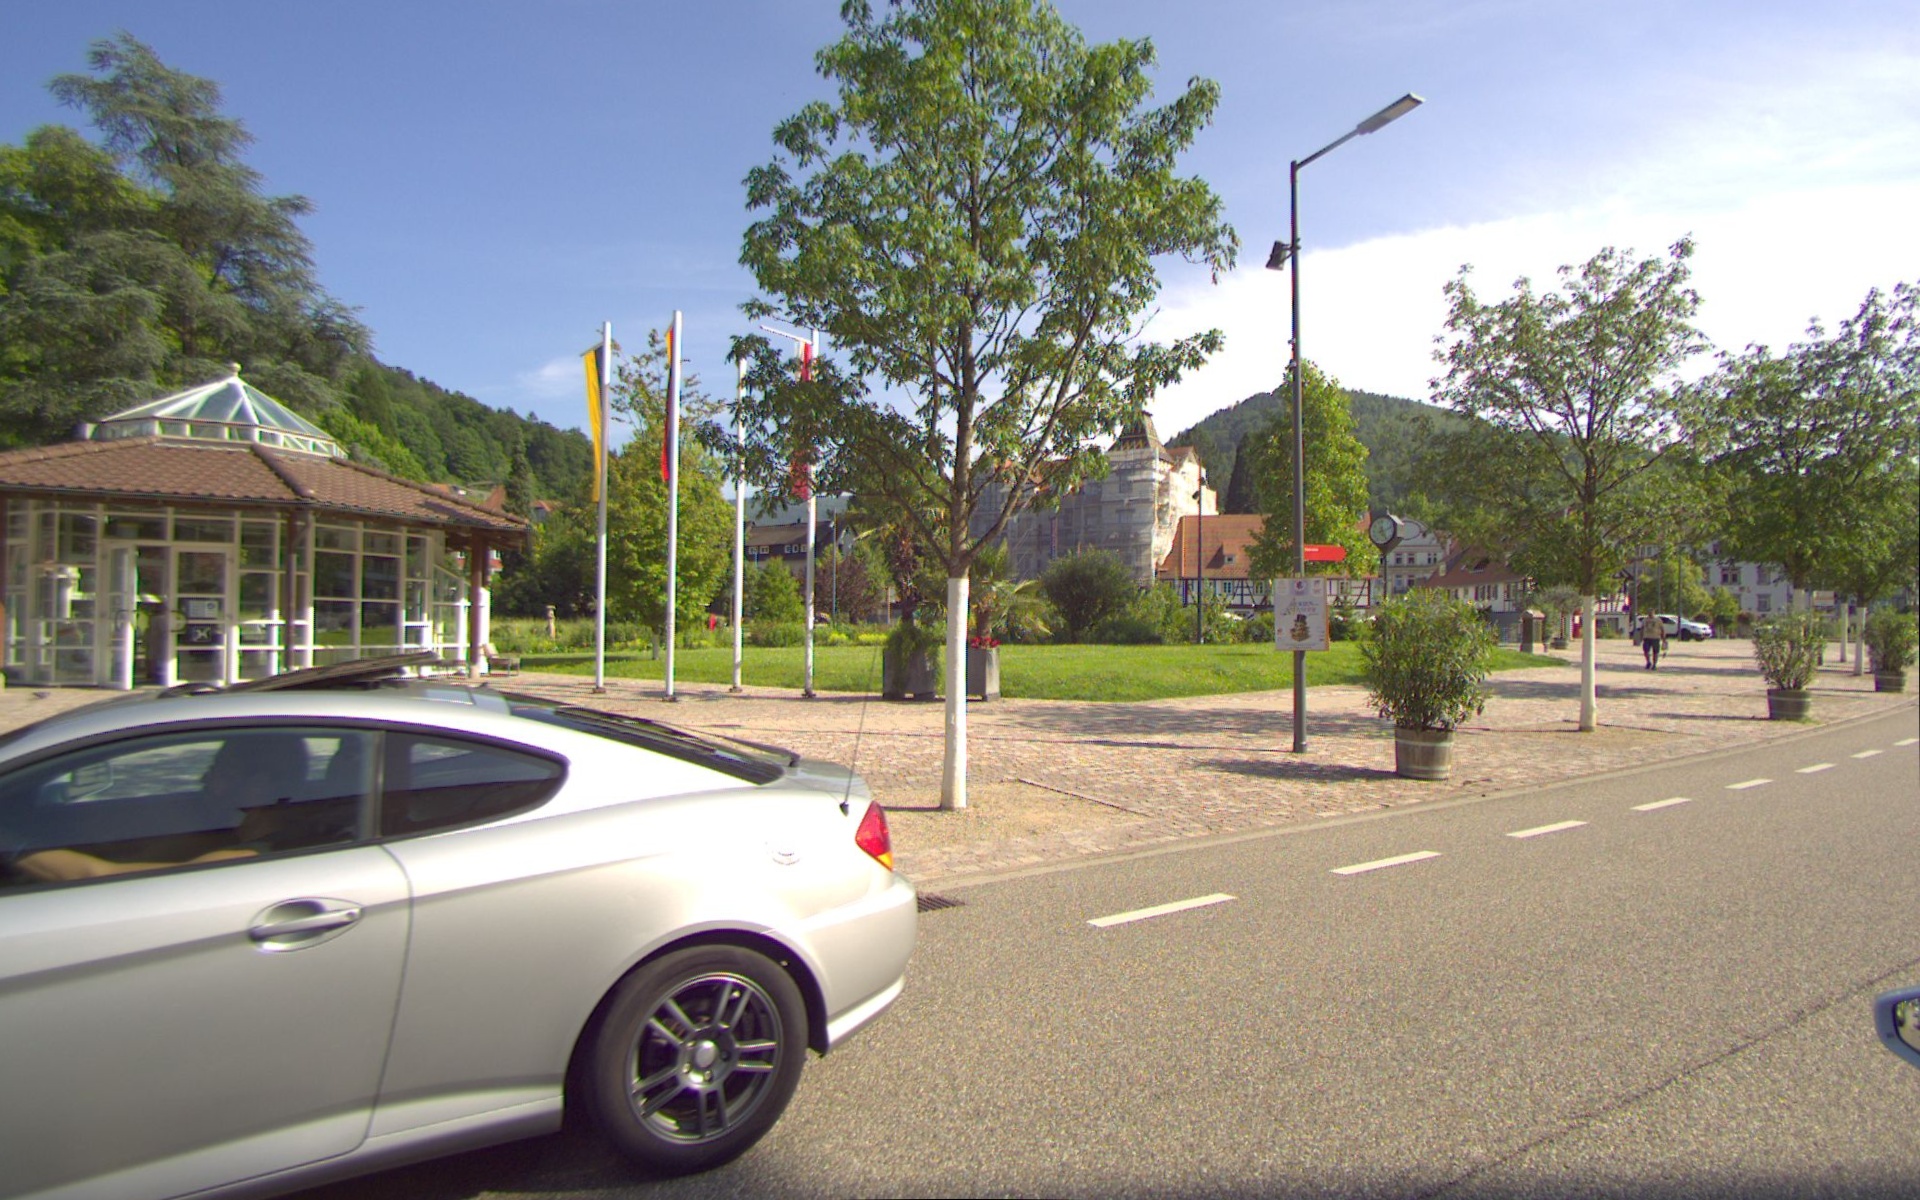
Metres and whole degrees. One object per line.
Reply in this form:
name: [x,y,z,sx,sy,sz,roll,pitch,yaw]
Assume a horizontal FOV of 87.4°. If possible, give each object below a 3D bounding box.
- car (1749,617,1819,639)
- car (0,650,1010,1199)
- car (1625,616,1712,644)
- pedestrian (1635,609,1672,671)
car: [56.516,1.892,68.884,4.114,1.439,1.684,1,-1,-16]
car: [-1.968,0.852,2.831,4.017,1.388,1.620,1,-3,-31]
car: [43.447,1.850,61.705,1.665,1.638,4.162,1,-1,-21]
pedestrian: [20.977,1.193,30.375,0.856,1.839,0.688,0,-1,39]
